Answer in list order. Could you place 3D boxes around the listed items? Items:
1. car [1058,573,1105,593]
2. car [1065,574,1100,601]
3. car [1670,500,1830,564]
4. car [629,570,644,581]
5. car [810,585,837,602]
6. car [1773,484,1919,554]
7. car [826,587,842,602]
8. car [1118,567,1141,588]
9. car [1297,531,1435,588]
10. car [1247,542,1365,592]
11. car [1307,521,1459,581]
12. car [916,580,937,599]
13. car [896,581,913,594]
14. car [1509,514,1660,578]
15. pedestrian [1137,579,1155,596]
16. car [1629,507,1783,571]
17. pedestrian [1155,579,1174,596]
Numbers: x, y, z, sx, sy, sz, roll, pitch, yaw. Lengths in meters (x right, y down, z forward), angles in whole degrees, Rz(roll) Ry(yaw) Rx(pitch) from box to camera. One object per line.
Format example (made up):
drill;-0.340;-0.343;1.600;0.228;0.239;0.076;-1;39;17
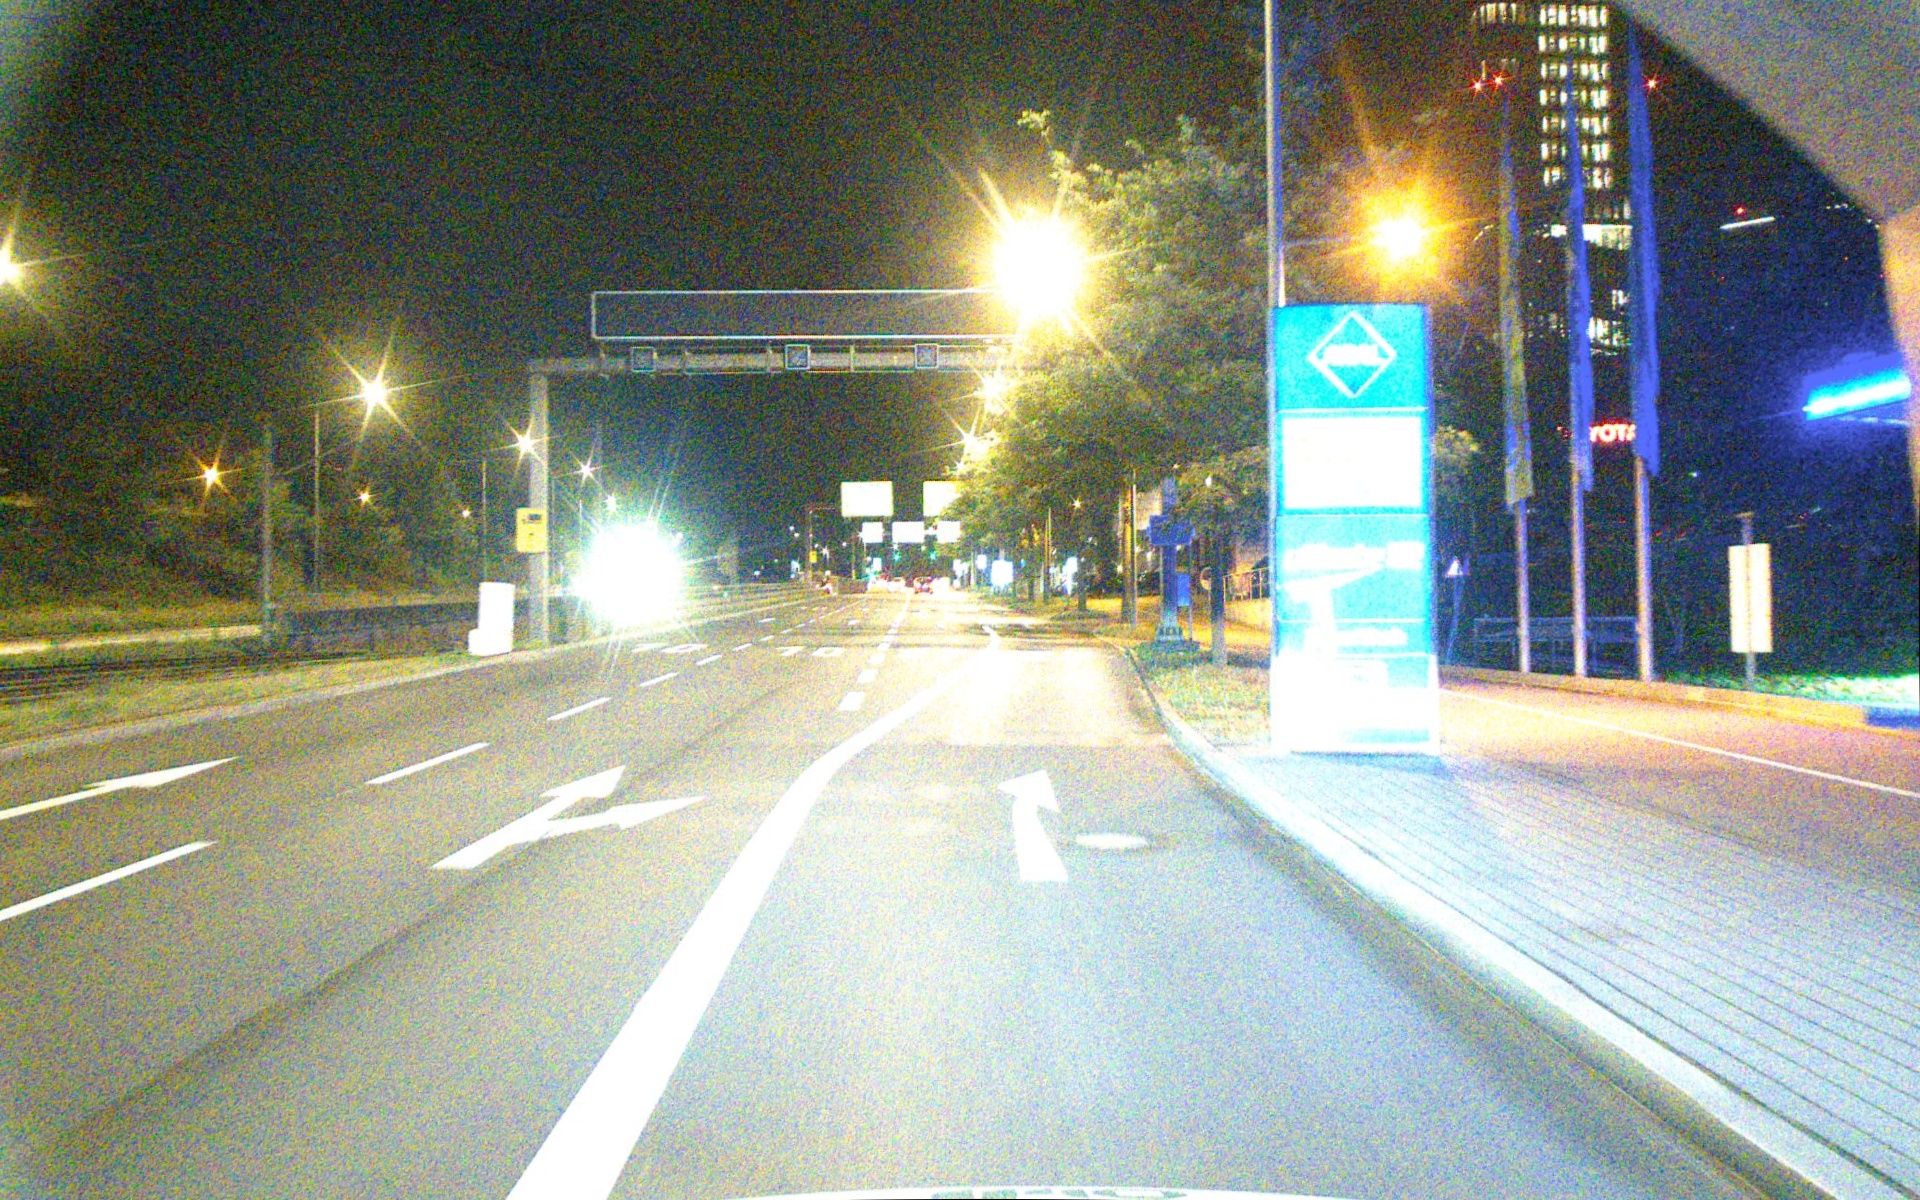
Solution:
car;9.747;-1.369;132.713;3.553;1.476;1.705;1;-1;-5
car;9.475;-0.963;127.541;1.951;1.979;4.002;1;-1;16
car;26.937;-2.317;56.448;4.486;1.944;1.998;-2;-1;-4
car;-49.767;-3.806;254.455;1.592;1.507;3.678;1;-1;-1
car;-14.449;-0.674;174.630;1.938;1.741;3.978;1;-1;-19
car;26.941;-2.438;50.090;3.734;1.928;1.751;-2;-1;-5
car;-15.017;-0.674;196.875;1.748;1.741;3.994;1;-1;-6
car;13.765;-1.824;134.350;1.852;1.538;3.638;1;-1;5
car;12.824;-1.269;52.420;3.905;1.598;1.738;-2;-1;0
car;11.934;-1.132;57.168;3.651;1.515;1.741;-2;-1;-3
car;12.657;-1.461;49.656;4.035;1.549;1.822;-2;-2;0
car;-3.342;-1.002;164.024;1.927;1.741;4.000;1;-1;1
car;-7.316;-1.645;217.646;1.963;1.579;4.295;1;-1;1
car;20.688;-1.782;54.928;4.270;1.755;1.751;-4;-1;1
pedestrian;11.823;-0.803;105.191;0.897;1.056;0.767;-1;0;42
car;21.310;-1.733;47.330;3.566;1.496;1.637;-4;-1;2
pedestrian;12.997;-0.797;105.170;0.982;1.025;0.768;1;-1;-17
